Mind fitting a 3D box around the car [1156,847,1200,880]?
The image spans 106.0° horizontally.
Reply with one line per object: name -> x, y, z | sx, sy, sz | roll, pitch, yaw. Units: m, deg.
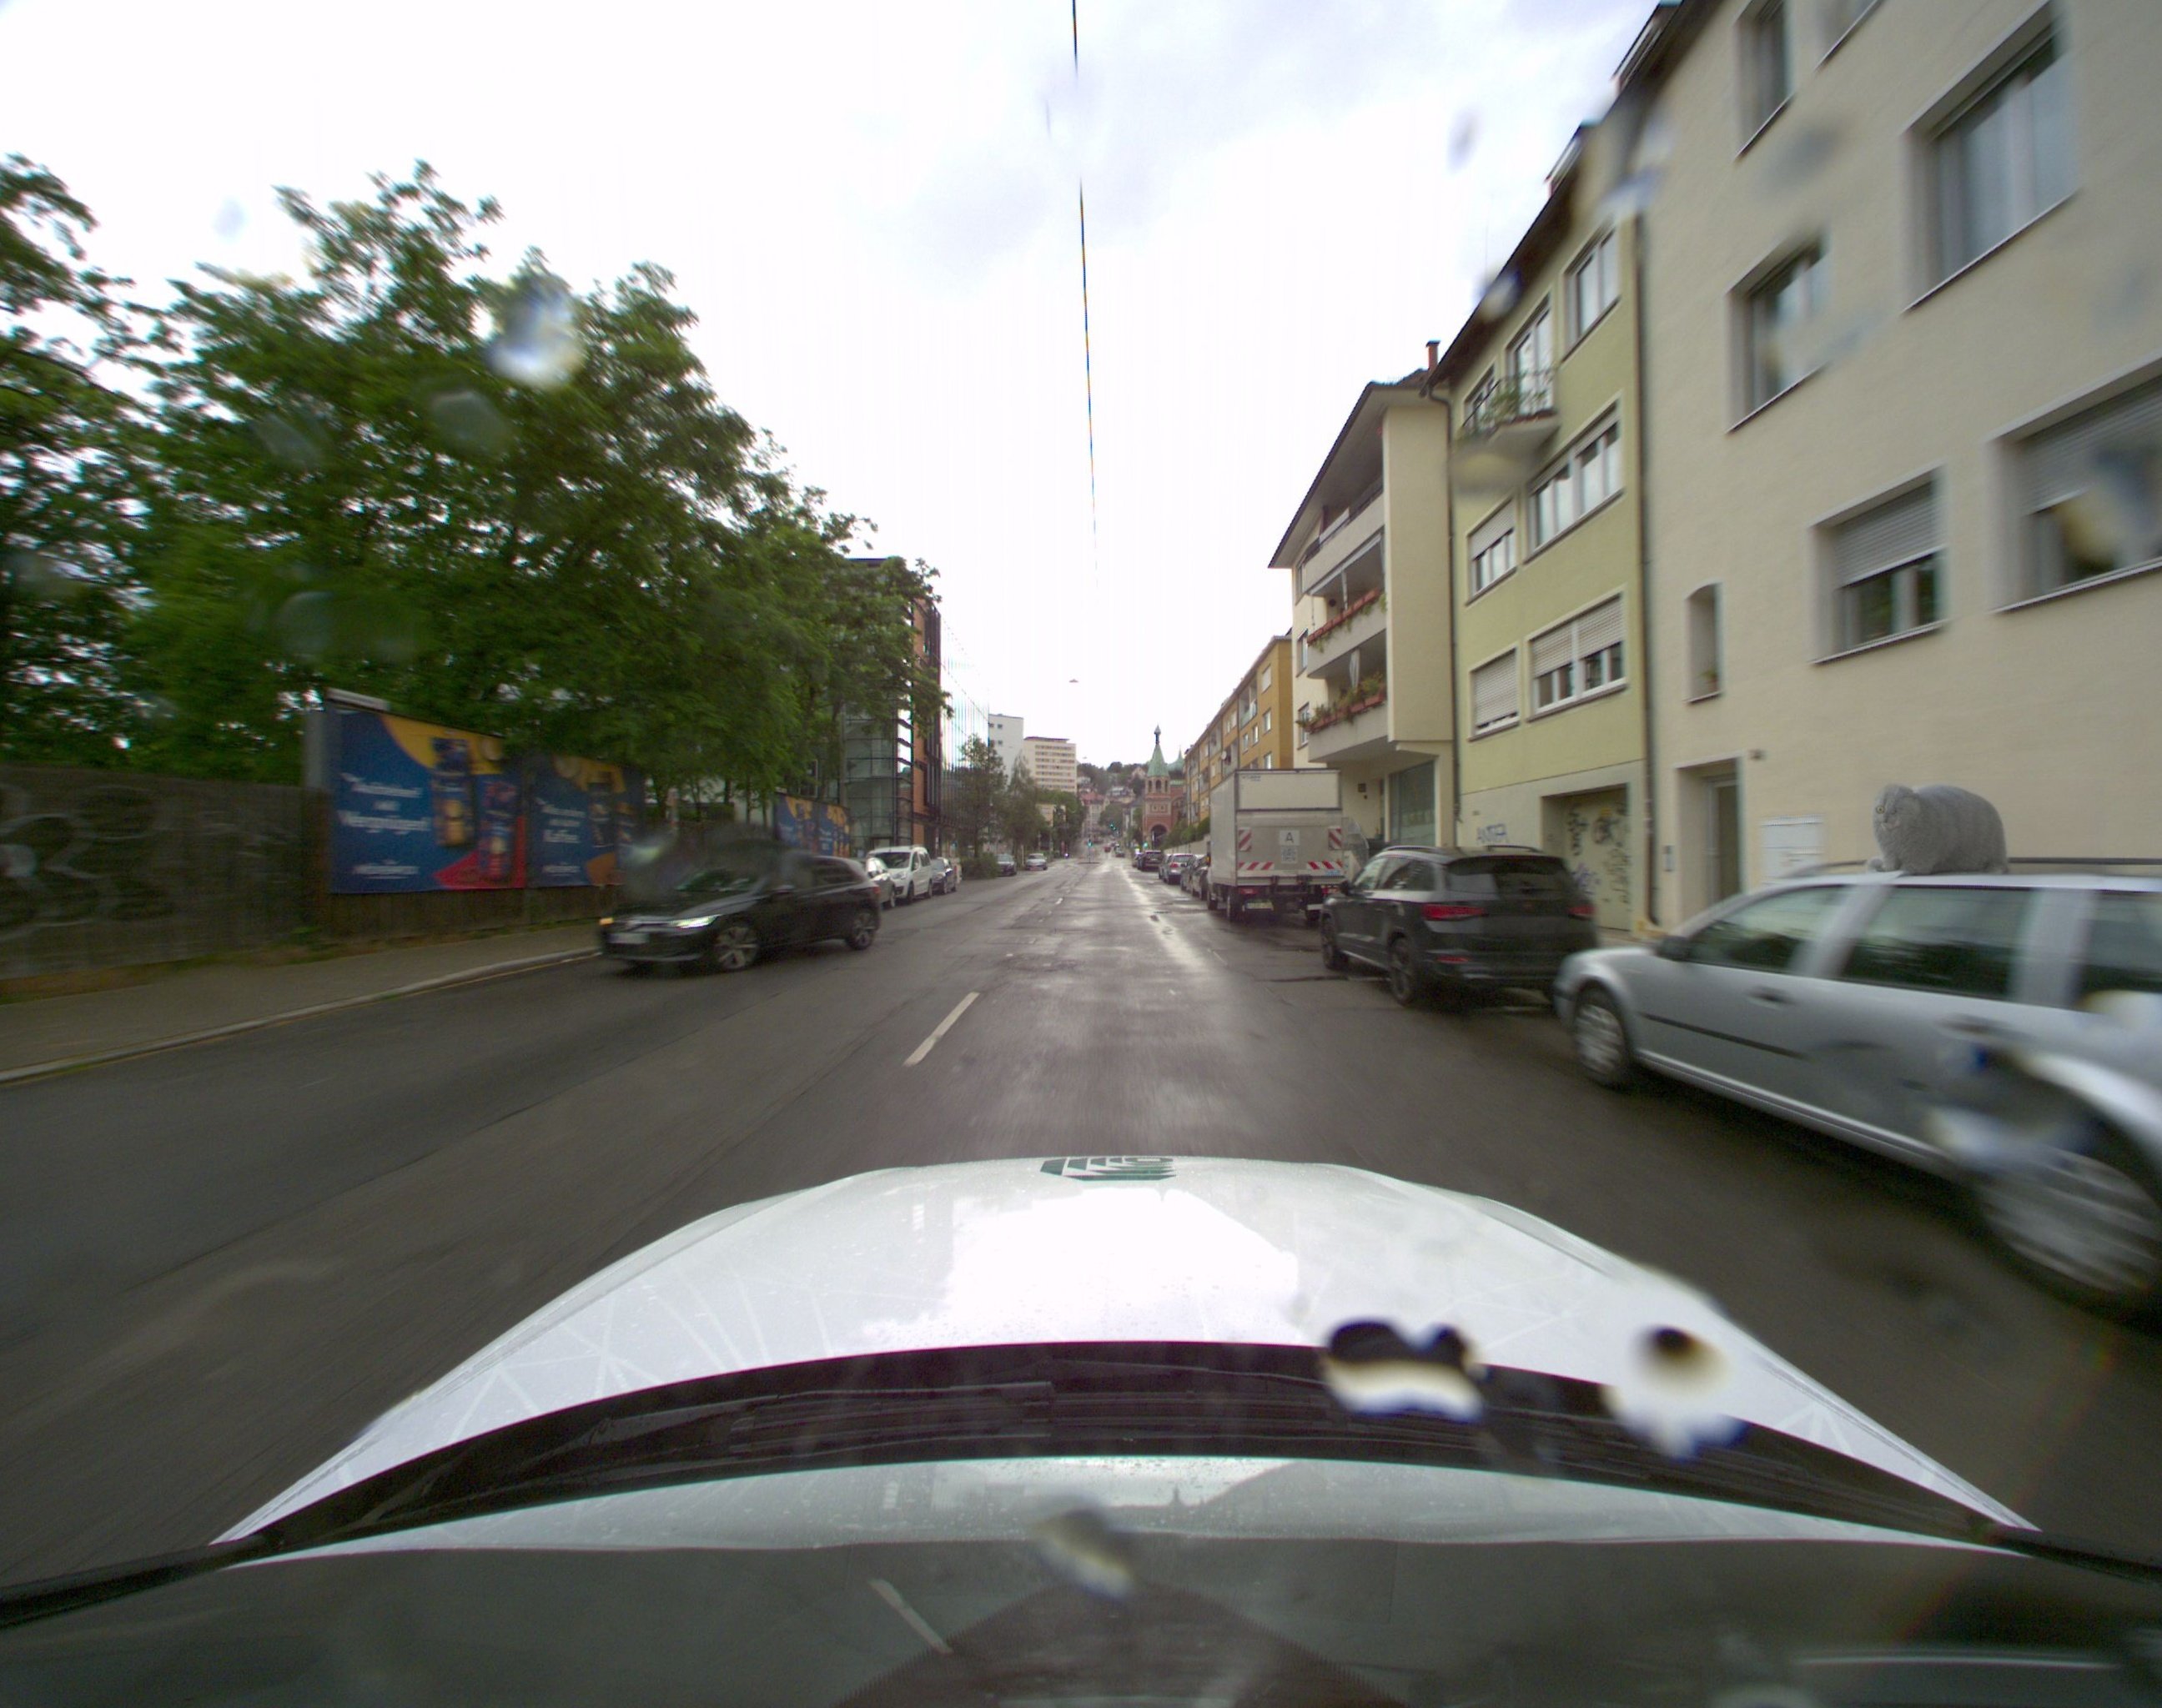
car -> 4.650, 0.436, 39.501 | 1.658, 1.502, 3.921 | -1, 0, 0

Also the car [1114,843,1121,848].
car -> 10.678, -2.448, 236.304 | 1.885, 1.510, 4.001 | 1, 0, 1

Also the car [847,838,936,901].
car -> -5.948, 0.480, 26.043 | 1.717, 1.800, 4.344 | -2, -1, 1

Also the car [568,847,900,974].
car -> -4.538, 0.641, 11.505 | 1.790, 1.415, 4.405 | -1, 0, 19

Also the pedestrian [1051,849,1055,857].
pedestrian -> -6.126, -0.254, 180.402 | 0.885, 1.893, 0.921 | -1, 0, -5

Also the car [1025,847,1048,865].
car -> -3.812, 0.200, 70.705 | 1.704, 1.450, 4.294 | -1, -1, 1

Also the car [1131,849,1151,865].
car -> 6.071, 0.314, 82.490 | 1.811, 1.522, 4.077 | 1, 0, 1

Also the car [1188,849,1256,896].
car -> 4.564, 0.553, 26.896 | 1.657, 1.421, 4.044 | -1, 0, 2

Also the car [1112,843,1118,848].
car -> 10.615, -2.555, 252.621 | 1.901, 1.510, 4.001 | 1, 0, 1

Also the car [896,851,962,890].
car -> -5.759, 0.612, 31.308 | 1.718, 1.376, 4.342 | -2, -1, -1

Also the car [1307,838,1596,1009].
car -> 4.015, 0.640, 9.634 | 1.657, 1.573, 4.099 | -1, 0, 2

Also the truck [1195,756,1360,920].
truck -> 4.308, -0.300, 19.343 | 2.460, 3.172, 7.039 | -1, 0, 2

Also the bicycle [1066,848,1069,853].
bicycle -> -2.893, -0.696, 173.101 | 0.675, 1.107, 1.799 | -1, -1, -1

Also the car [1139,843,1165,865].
car -> 5.654, -0.001, 65.057 | 1.811, 1.652, 4.077 | 1, 0, 1

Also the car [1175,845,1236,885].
car -> 4.772, 0.442, 31.702 | 1.659, 1.421, 3.918 | -1, -1, -2

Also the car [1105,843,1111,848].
car -> 8.068, -2.676, 246.233 | 1.901, 1.510, 4.001 | 0, 0, 1

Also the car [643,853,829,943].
car -> -6.136, 0.718, 15.012 | 1.676, 1.398, 3.910 | -2, -1, 1

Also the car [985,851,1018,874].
car -> -5.348, 0.554, 55.421 | 1.797, 1.450, 4.656 | -1, -1, 0

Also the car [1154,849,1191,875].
car -> 5.090, 0.443, 45.835 | 1.658, 1.400, 3.921 | -1, 0, 0

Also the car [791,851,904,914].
car -> -6.008, 0.698, 21.497 | 1.676, 1.462, 4.277 | -2, -1, 1

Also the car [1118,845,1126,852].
car -> 10.056, -1.360, 199.939 | 1.724, 1.653, 4.005 | 0, 1, 5

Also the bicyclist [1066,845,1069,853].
bicyclist -> -2.894, -1.113, 173.084 | 0.675, 1.661, 0.650 | 0, -1, -2

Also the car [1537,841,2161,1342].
car -> 4.098, 0.697, 3.875 | 1.657, 1.500, 4.099 | -1, 0, 2
